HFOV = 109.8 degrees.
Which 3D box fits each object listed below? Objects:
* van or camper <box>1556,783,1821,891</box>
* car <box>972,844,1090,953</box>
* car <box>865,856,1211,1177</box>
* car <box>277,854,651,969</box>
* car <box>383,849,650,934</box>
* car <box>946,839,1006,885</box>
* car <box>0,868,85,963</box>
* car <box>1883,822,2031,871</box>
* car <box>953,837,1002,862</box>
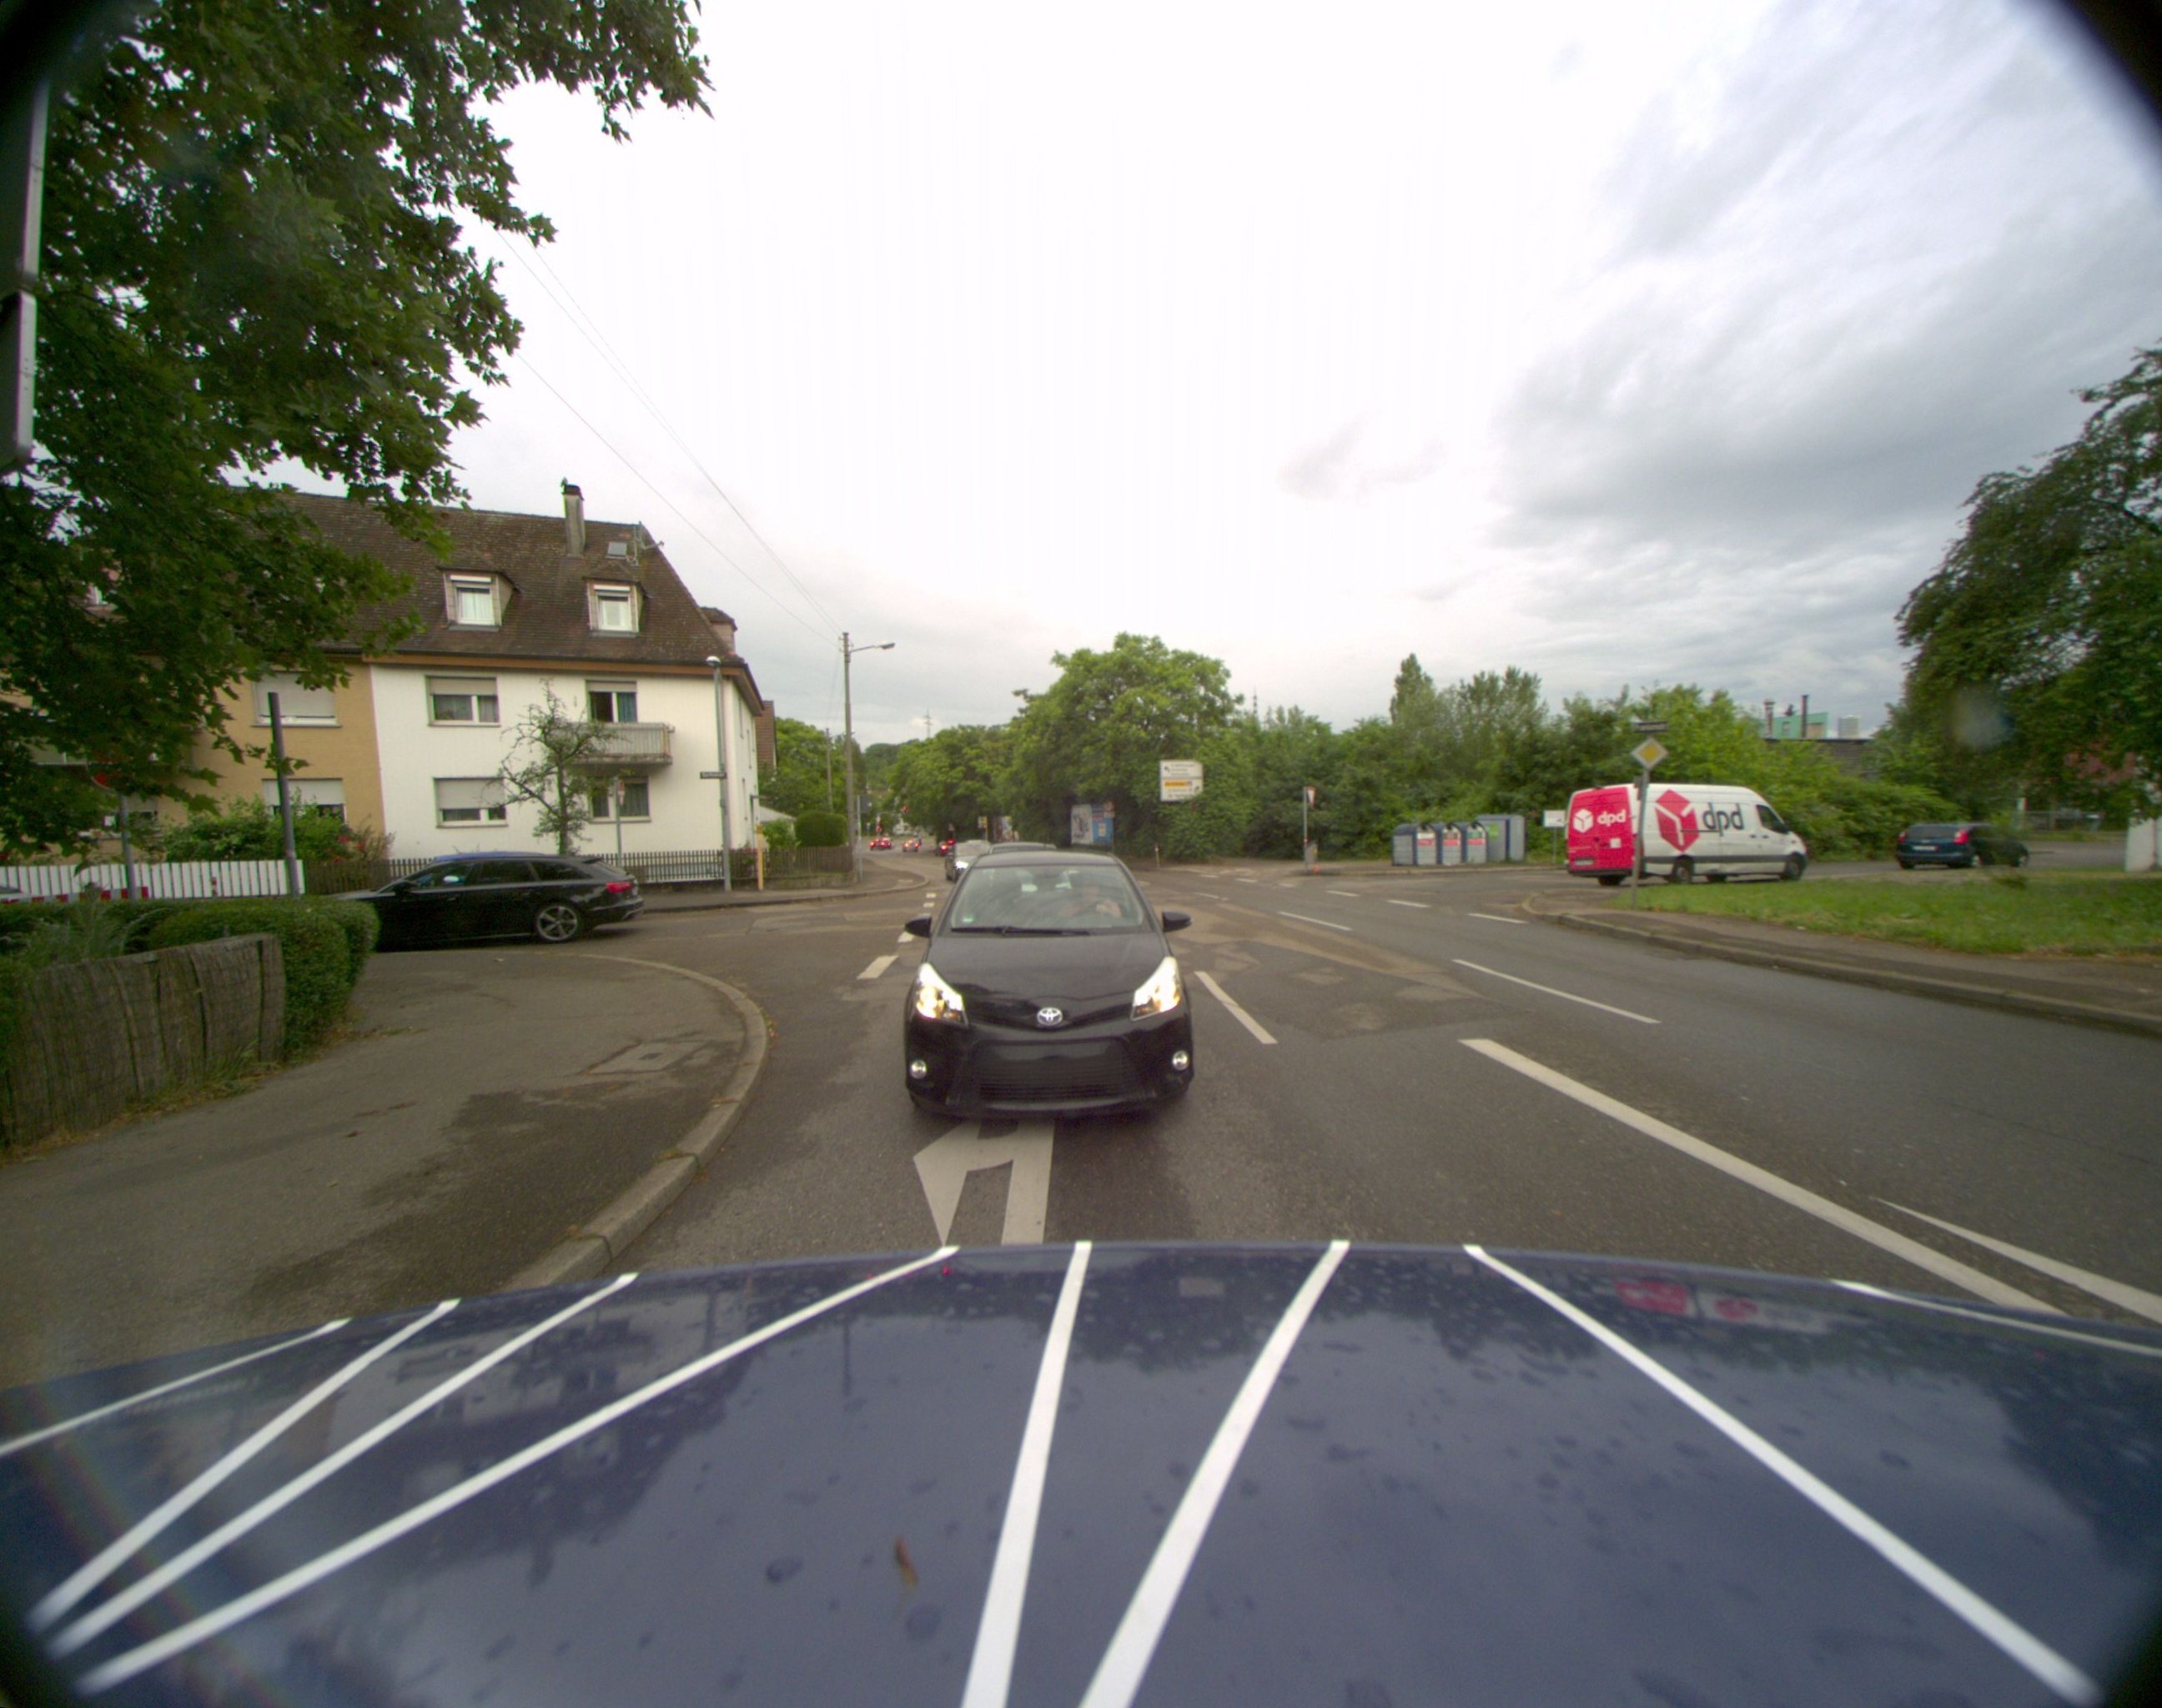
[{"bbox_3d":[15.925,-0.511,19.902,6.702,2.508,2.219,-2,2,-19],"label":"van or camper"},{"bbox_3d":[-0.987,0.636,13.089,1.645,1.549,3.625,-2,1,-9],"label":"car"},{"bbox_3d":[-0.320,0.797,5.730,1.645,1.450,3.998,-2,1,-4],"label":"car"},{"bbox_3d":[-9.885,0.828,12.714,4.397,1.505,1.996,-2,1,-22],"label":"car"},{"bbox_3d":[-11.262,0.674,15.543,4.004,1.456,1.857,-1,1,-23],"label":"car"},{"bbox_3d":[-3.951,0.243,28.101,1.709,1.549,3.994,-2,1,-14],"label":"car"},{"bbox_3d":[-19.832,1.089,12.091,4.396,1.505,1.996,-2,1,-19],"label":"car"},{"bbox_3d":[30.002,-0.276,26.046,4.072,1.521,1.996,-2,1,-20],"label":"car"},{"bbox_3d":[-7.144,-0.305,51.842,1.844,1.549,5.562,-2,1,-23],"label":"car"}]
